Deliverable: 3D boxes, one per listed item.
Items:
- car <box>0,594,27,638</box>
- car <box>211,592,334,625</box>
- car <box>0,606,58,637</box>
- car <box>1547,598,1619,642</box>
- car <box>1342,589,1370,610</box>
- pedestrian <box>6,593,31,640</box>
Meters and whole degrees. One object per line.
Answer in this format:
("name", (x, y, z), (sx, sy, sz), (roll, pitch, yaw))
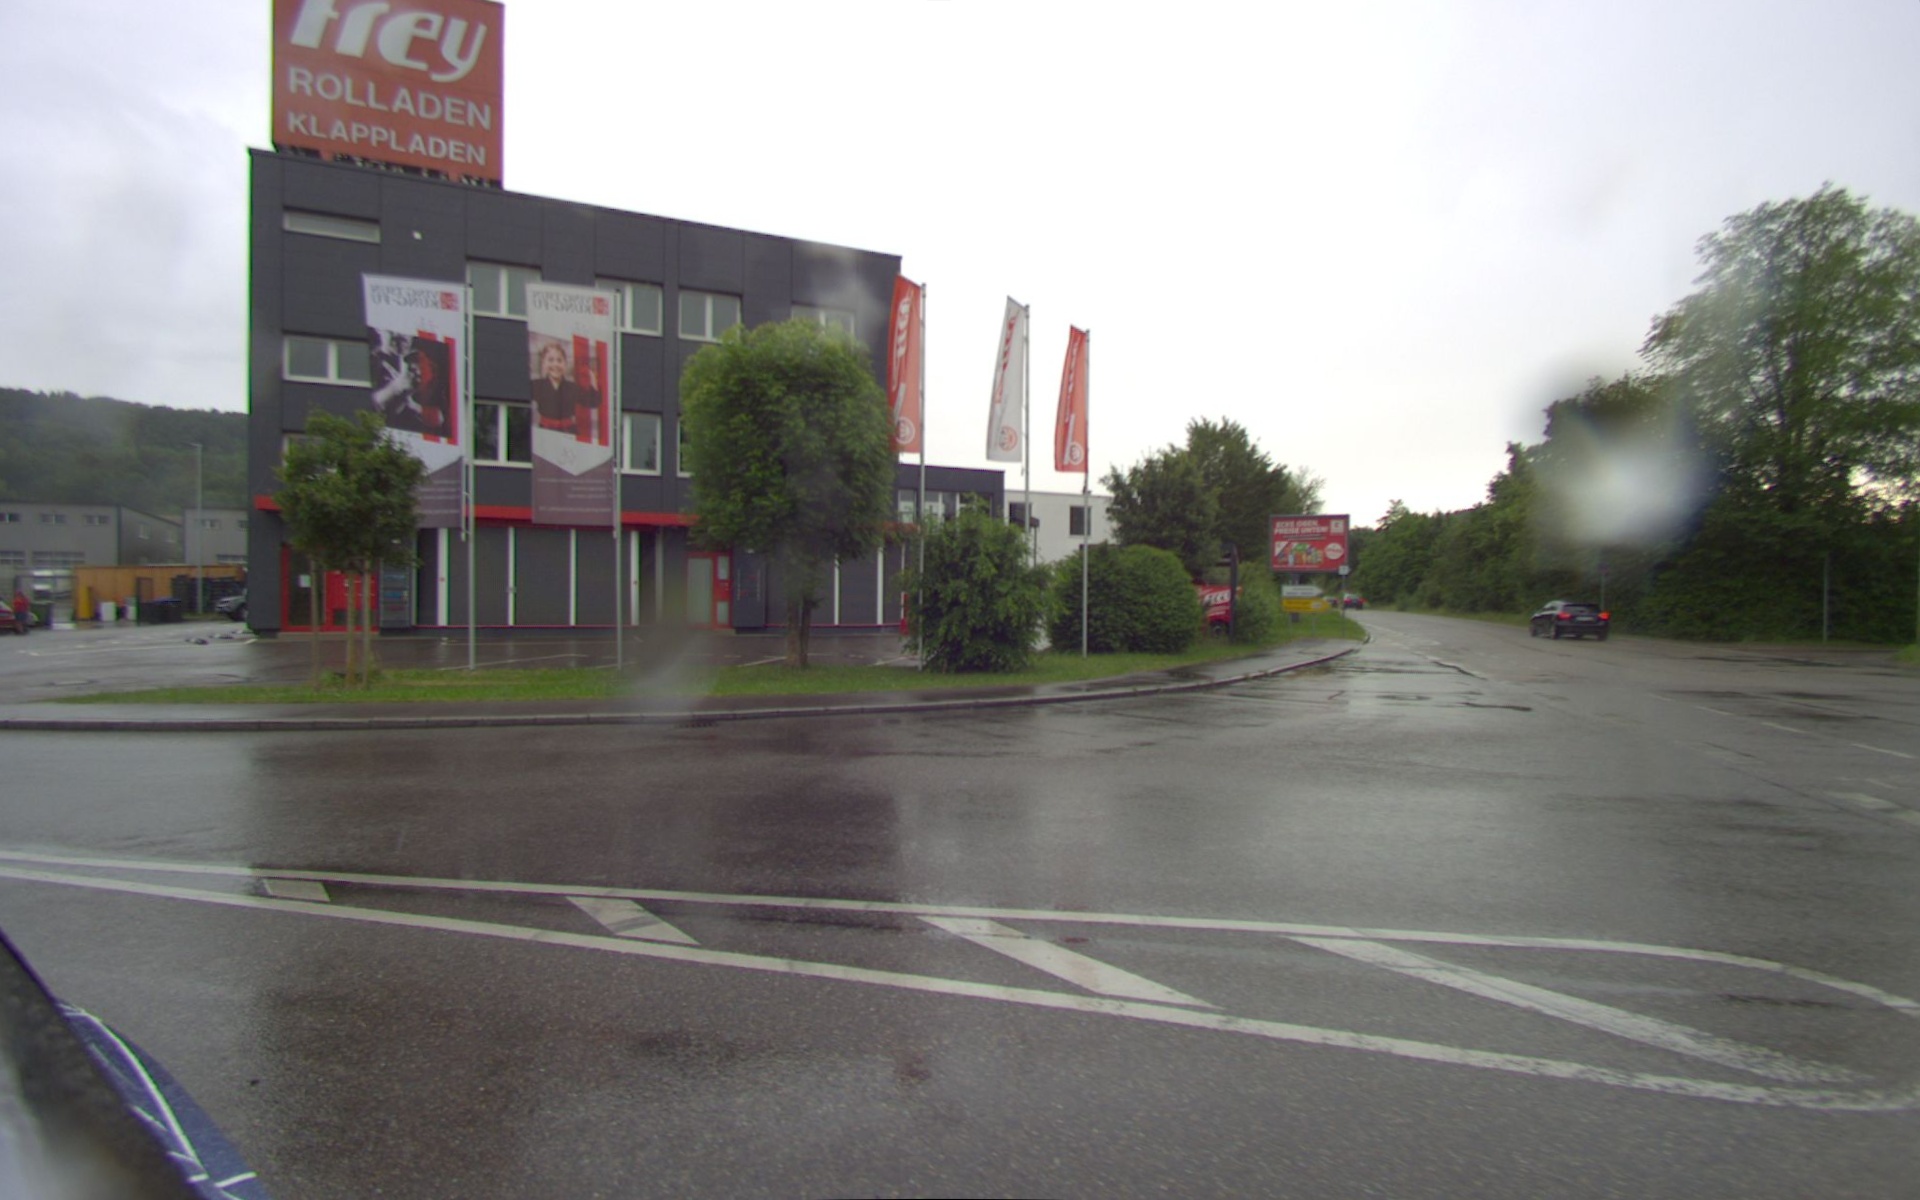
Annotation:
("car", (-36.301, 0.588, 36.208), (3.937, 1.587, 1.927), (0, -1, -7))
("car", (-30.027, 0.361, 44.266), (2.001, 1.397, 4.136), (-1, -1, 44))
("car", (-37.440, 0.819, 38.569), (4.126, 1.169, 1.938), (0, 0, -14))
("car", (23.217, 0.720, 37.856), (1.825, 1.535, 3.966), (0, -1, 25))
("car", (39.663, -0.069, 101.391), (1.980, 2.029, 3.984), (0, 1, 13))
("pedestrian", (-34.045, 0.586, 36.605), (0.424, 1.684, 0.705), (0, -1, -23))
